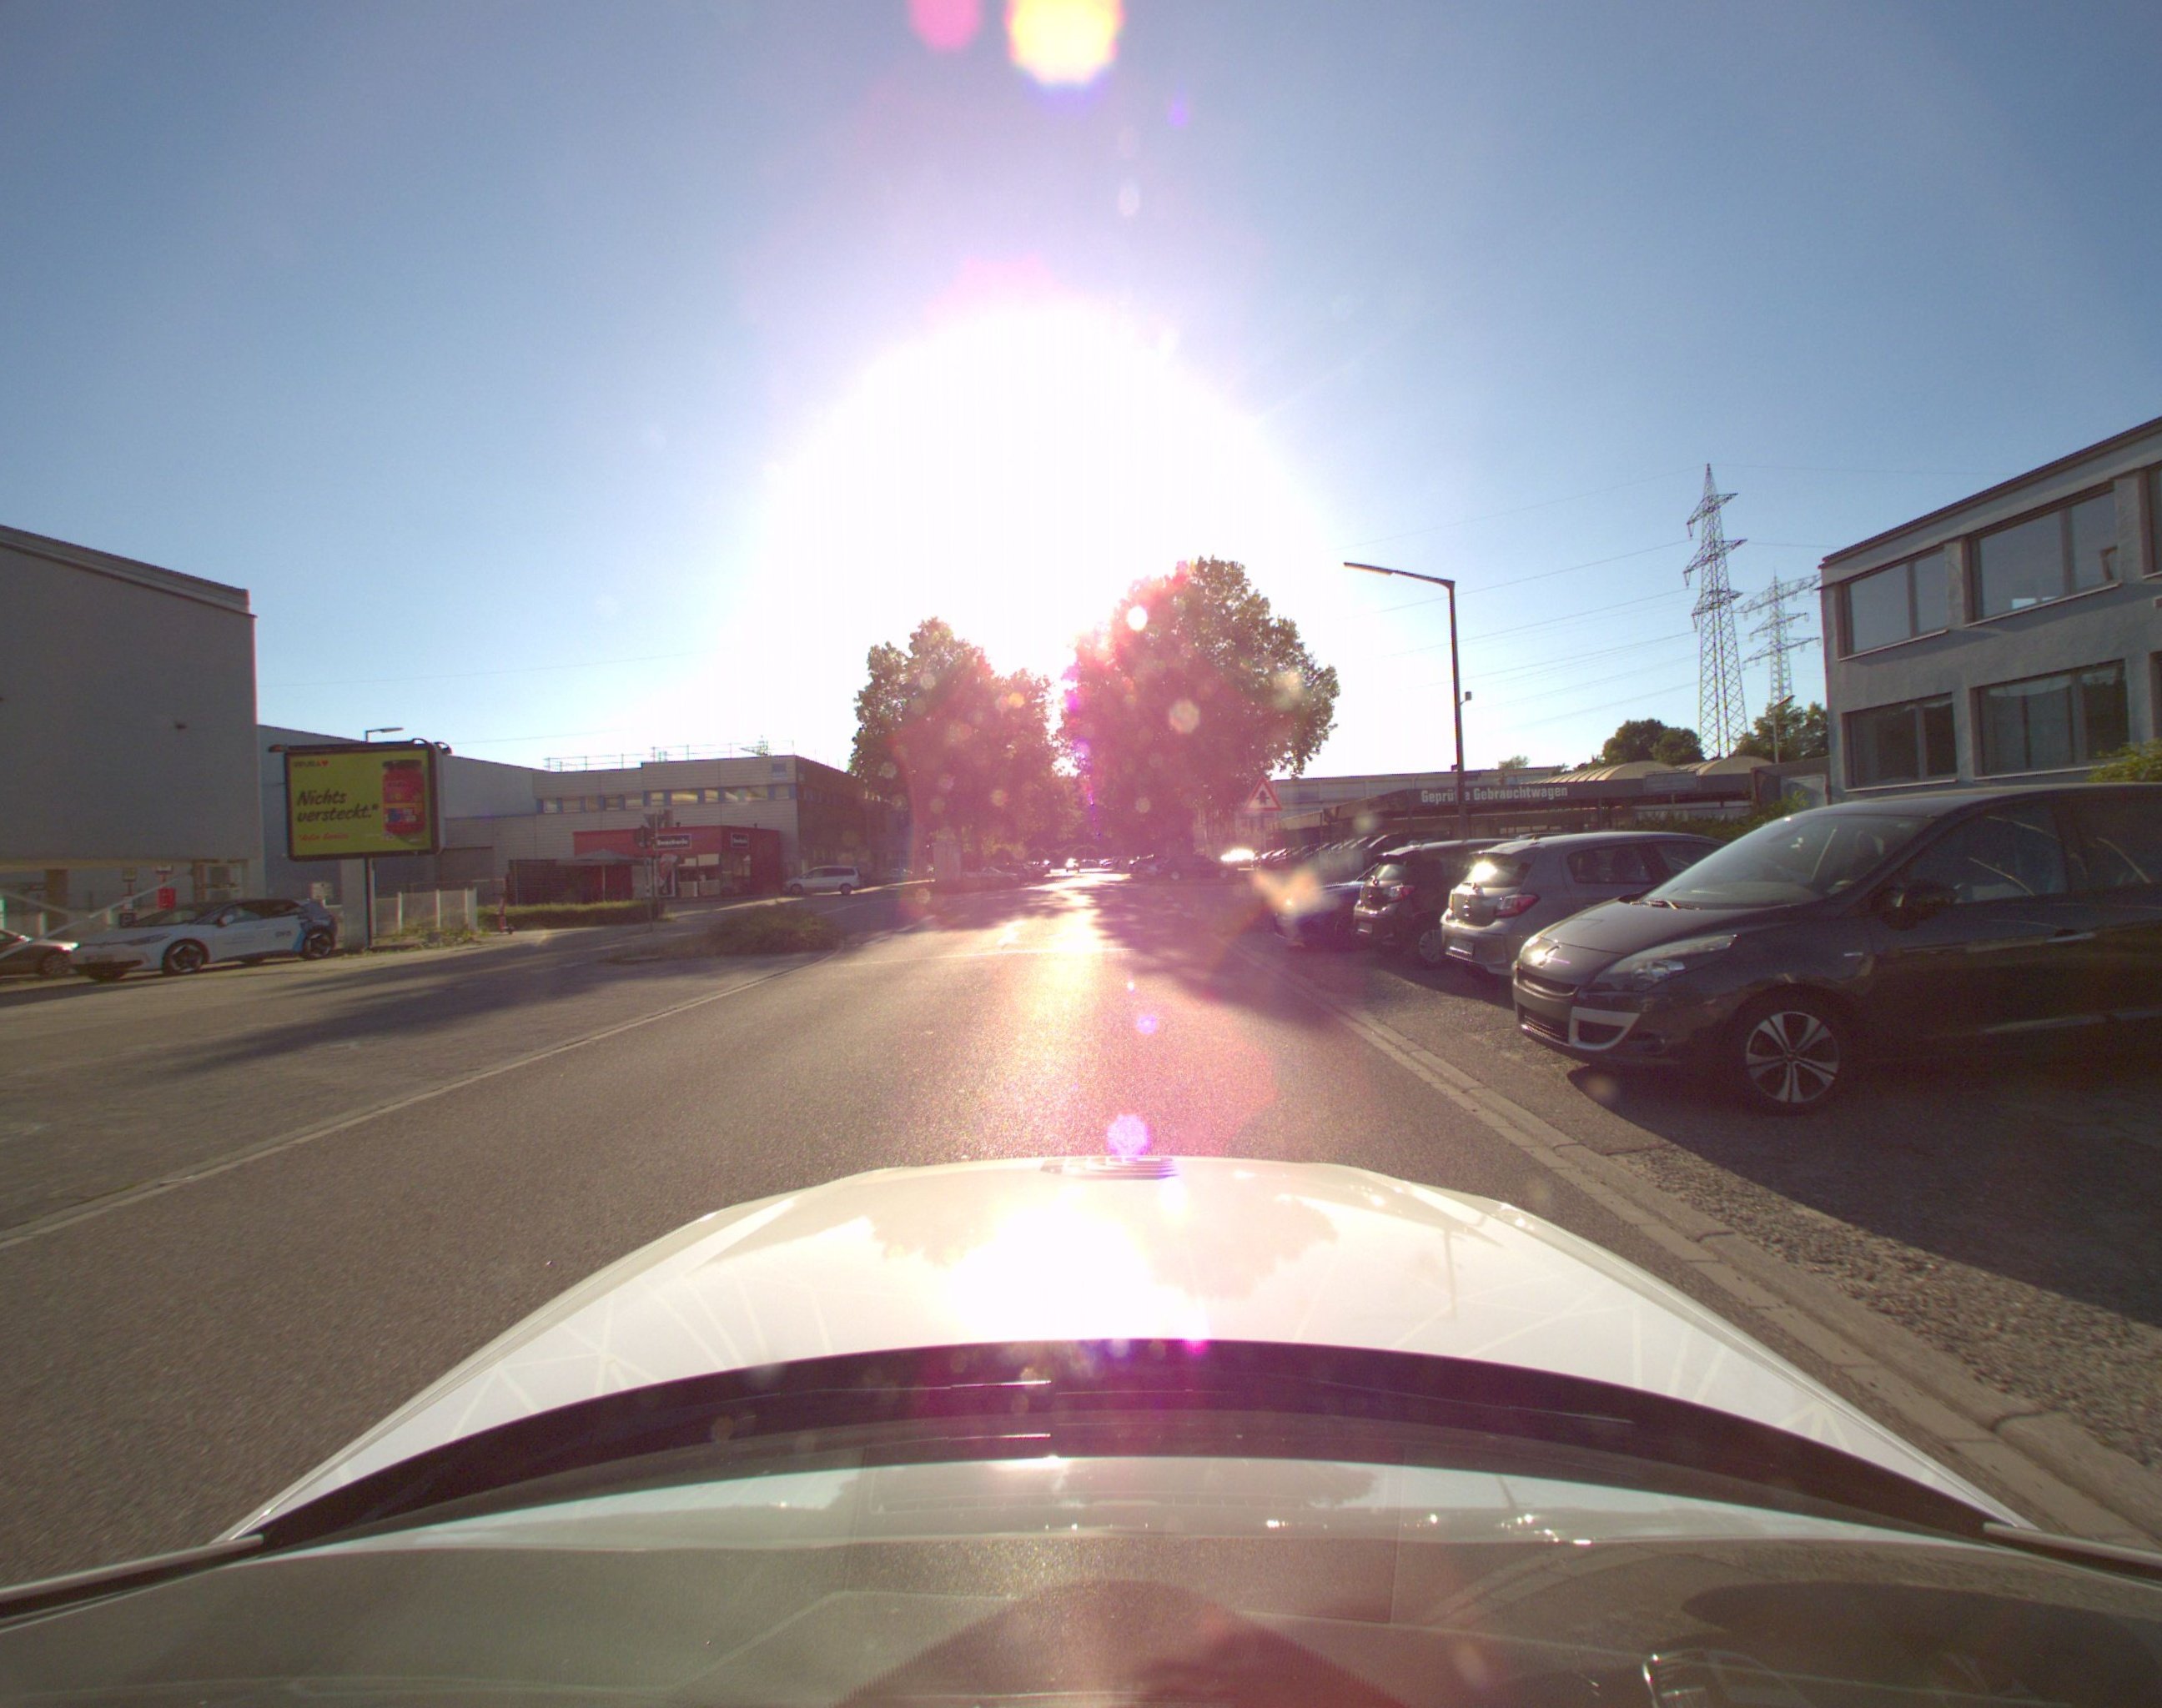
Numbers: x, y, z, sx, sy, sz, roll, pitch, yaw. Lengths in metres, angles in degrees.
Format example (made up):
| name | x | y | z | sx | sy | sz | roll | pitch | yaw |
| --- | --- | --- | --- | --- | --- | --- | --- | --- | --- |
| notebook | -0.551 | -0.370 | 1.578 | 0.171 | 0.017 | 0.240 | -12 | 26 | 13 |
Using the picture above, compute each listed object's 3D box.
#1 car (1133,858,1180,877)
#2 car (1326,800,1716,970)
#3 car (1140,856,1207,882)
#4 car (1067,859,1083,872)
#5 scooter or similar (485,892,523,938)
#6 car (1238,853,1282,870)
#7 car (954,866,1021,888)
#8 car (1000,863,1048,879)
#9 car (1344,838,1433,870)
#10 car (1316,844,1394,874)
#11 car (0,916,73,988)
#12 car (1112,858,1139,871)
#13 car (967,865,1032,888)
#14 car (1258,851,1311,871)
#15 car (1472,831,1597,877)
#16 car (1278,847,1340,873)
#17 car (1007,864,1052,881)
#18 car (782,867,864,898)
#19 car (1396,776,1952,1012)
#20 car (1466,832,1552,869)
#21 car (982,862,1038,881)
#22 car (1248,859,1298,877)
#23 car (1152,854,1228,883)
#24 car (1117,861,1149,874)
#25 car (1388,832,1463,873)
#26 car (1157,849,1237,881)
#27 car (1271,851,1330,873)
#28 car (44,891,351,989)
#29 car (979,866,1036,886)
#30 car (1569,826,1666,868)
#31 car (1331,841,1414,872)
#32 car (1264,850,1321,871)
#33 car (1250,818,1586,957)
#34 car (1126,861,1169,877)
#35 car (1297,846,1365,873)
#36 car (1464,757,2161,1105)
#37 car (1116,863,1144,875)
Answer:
| name | x | y | z | sx | sy | sz | roll | pitch | yaw |
| --- | --- | --- | --- | --- | --- | --- | --- | --- | --- |
| car | 6.578 | 1.197 | 71.472 | 3.973 | 1.416 | 1.827 | -3 | -1 | 1 |
| car | 5.467 | 0.373 | 10.483 | 3.976 | 1.652 | 1.741 | -5 | -1 | -2 |
| car | 5.716 | 0.932 | 50.599 | 3.973 | 1.416 | 1.827 | -3 | -1 | 1 |
| car | -0.818 | 1.534 | 107.868 | 1.986 | 1.609 | 4.001 | 0 | -1 | 1 |
| scooter or similar | -16.216 | 1.691 | 22.875 | 0.629 | 1.200 | 1.372 | 0 | -2 | -45 |
| car | 17.680 | 0.775 | 80.586 | 3.974 | 1.546 | 2.000 | -1 | -1 | 0 |
| car | -6.320 | 1.555 | 55.658 | 4.407 | 1.403 | 1.997 | -1 | -1 | -4 |
| car | -5.565 | 1.648 | 79.629 | 4.397 | 1.517 | 2.001 | -1 | -1 | 2 |
| car | 16.422 | 0.009 | 43.615 | 3.974 | 1.568 | 2.000 | -1 | -1 | 0 |
| car | 16.363 | 0.304 | 48.730 | 3.974 | 1.700 | 2.000 | -1 | -1 | 0 |
| car | -26.472 | 2.352 | 18.537 | 1.986 | 1.618 | 4.001 | -1 | -1 | 2 |
| car | 6.676 | 1.563 | 122.035 | 3.973 | 1.777 | 1.827 | -3 | -1 | 1 |
| car | -5.752 | 1.619 | 58.110 | 4.401 | 1.517 | 1.999 | -1 | -1 | -1 |
| car | 16.894 | 0.560 | 67.732 | 3.974 | 1.546 | 2.000 | -1 | -1 | 0 |
| car | 18.636 | 0.031 | 33.604 | 3.976 | 1.605 | 1.998 | -2 | -3 | -2 |
| car | 16.770 | 0.436 | 60.014 | 3.974 | 1.832 | 2.000 | -1 | -1 | 0 |
| car | -5.287 | 1.932 | 84.591 | 4.397 | 1.697 | 2.001 | -1 | -1 | 2 |
| car | -15.581 | 1.688 | 49.403 | 4.637 | 1.741 | 1.990 | -1 | -1 | -15 |
| car | 5.479 | 0.367 | 7.974 | 3.972 | 1.652 | 1.801 | -6 | -1 | 1 |
| car | 20.504 | -0.121 | 39.190 | 1.987 | 1.602 | 3.999 | -2 | -2 | 0 |
| car | -5.969 | 1.486 | 68.403 | 4.397 | 1.517 | 2.001 | -1 | -1 | 2 |
| car | 17.140 | 1.252 | 72.924 | 3.974 | 1.504 | 2.000 | -1 | -1 | 0 |
| car | 6.058 | 0.819 | 45.541 | 3.973 | 1.416 | 2.000 | -3 | -1 | 1 |
| car | 6.778 | 1.747 | 106.070 | 3.973 | 1.416 | 1.827 | -3 | -1 | 1 |
| car | 16.718 | -0.022 | 39.443 | 1.915 | 1.770 | 4.023 | -6 | -5 | 44 |
| car | 6.122 | 0.584 | 43.255 | 3.973 | 1.416 | 2.000 | -3 | -1 | 1 |
| car | 16.796 | 0.625 | 62.564 | 3.974 | 1.546 | 2.000 | -1 | -1 | 0 |
| car | -19.344 | 1.791 | 18.207 | 1.986 | 1.577 | 4.342 | -1 | 1 | 1 |
| car | -5.848 | 1.763 | 65.254 | 4.404 | 1.517 | 1.998 | -1 | -1 | -2 |
| car | 25.671 | -0.288 | 39.155 | 1.987 | 1.734 | 3.999 | -2 | -2 | 0 |
| car | 16.453 | 0.167 | 46.088 | 3.974 | 1.634 | 2.000 | -1 | -1 | 0 |
| car | 16.847 | 0.517 | 65.004 | 3.974 | 1.546 | 2.000 | -1 | -1 | 0 |
| car | 5.167 | 0.495 | 12.875 | 4.513 | 1.673 | 1.752 | -5 | -1 | -3 |
| car | 6.288 | 1.428 | 77.453 | 3.973 | 1.381 | 1.827 | -3 | -1 | 1 |
| car | 16.770 | 0.406 | 54.758 | 3.974 | 1.700 | 2.000 | -1 | -1 | 0 |
| car | 4.841 | 0.394 | 5.053 | 3.964 | 1.613 | 2.005 | -4 | -2 | 8 |
| car | 7.151 | 2.198 | 118.470 | 3.973 | 1.416 | 1.827 | -3 | -1 | 1 |
